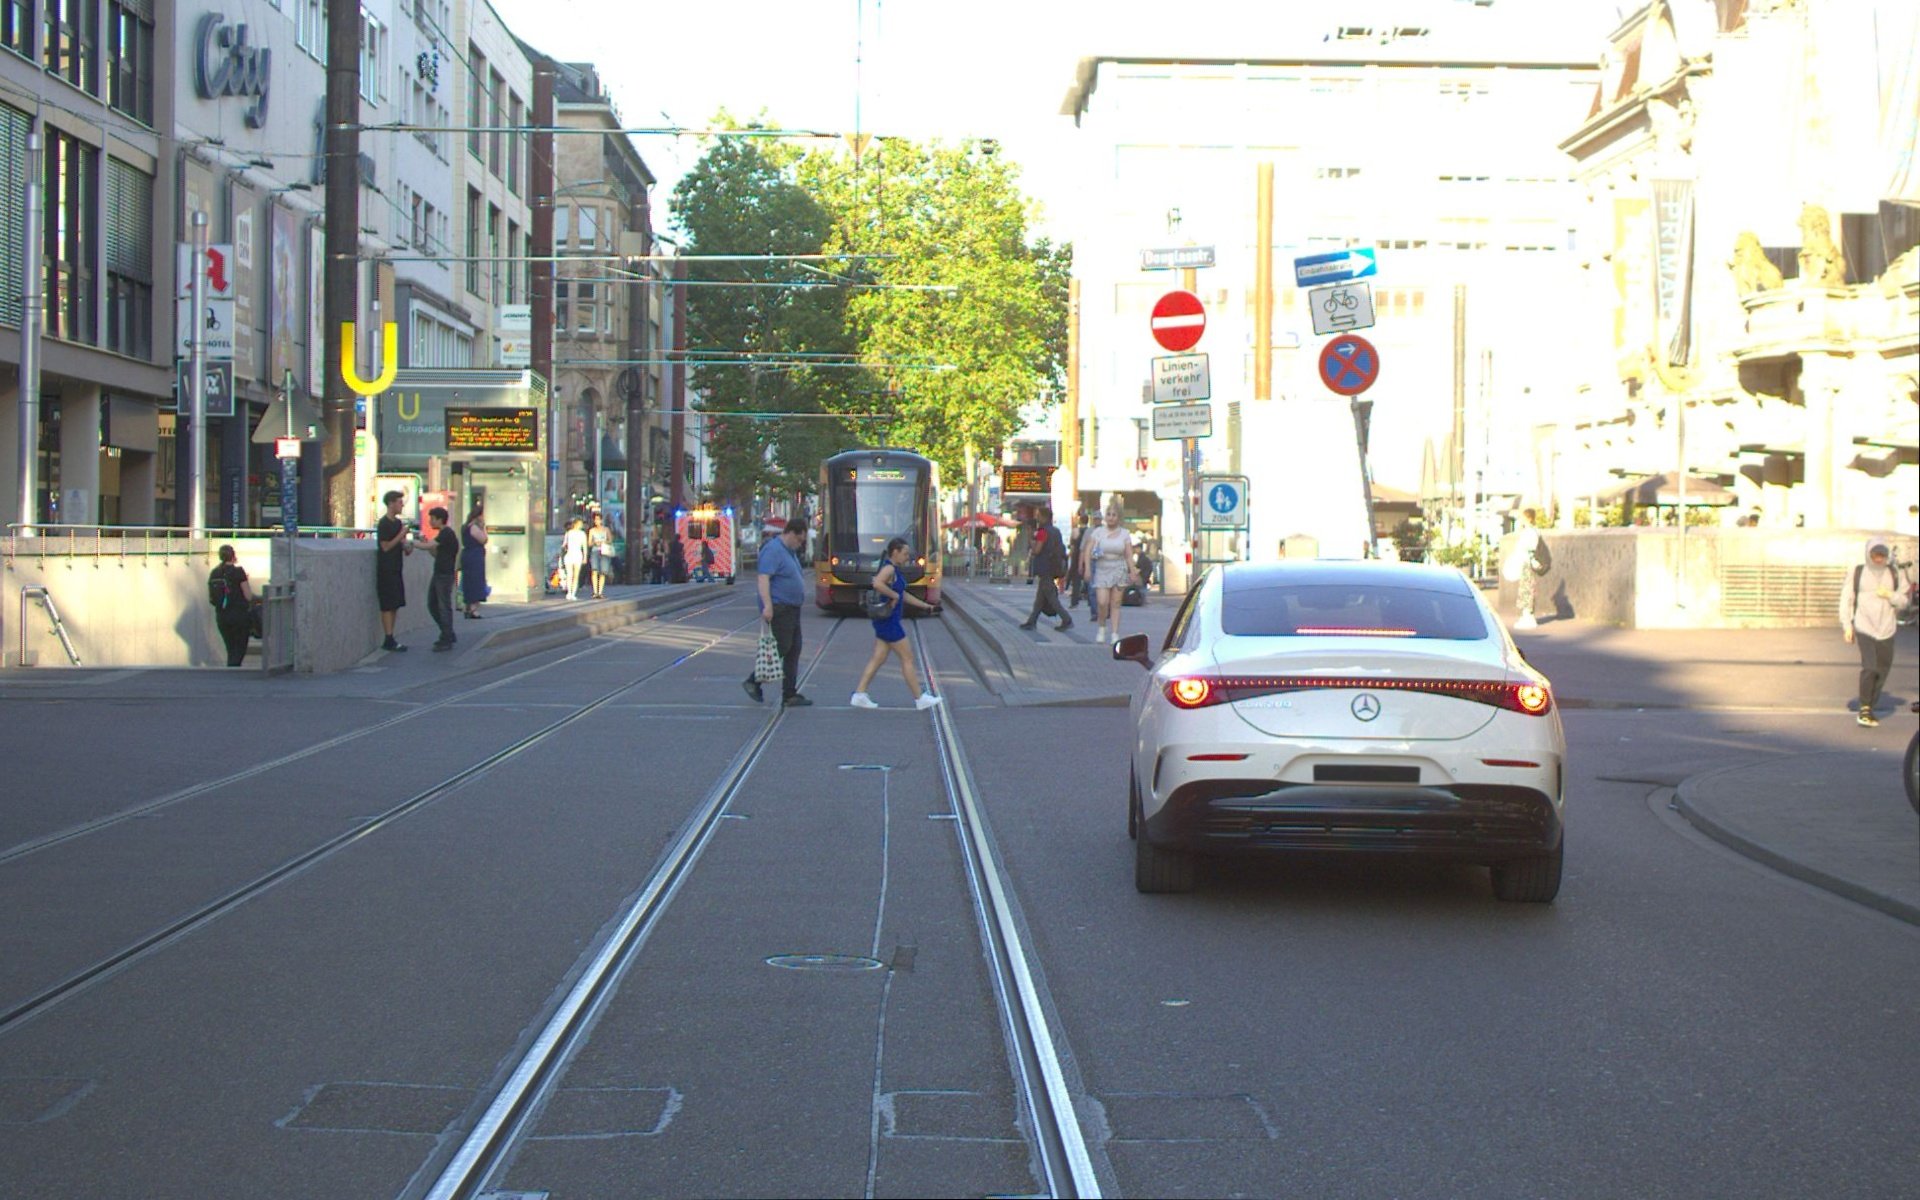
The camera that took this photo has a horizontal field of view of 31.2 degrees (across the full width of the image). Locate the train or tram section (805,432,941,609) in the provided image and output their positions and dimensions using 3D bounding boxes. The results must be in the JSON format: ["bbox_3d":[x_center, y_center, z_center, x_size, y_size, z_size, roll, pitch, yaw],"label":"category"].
[{"bbox_3d":[-1.854,-1.714,75.056,2.694,3.504,12.546,0,1,-1],"label":"train or tram section"}]

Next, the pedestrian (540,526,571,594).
[{"bbox_3d":[-9.498,-0.943,80.723,0.660,1.593,0.573,1,1,-2],"label":"pedestrian"}]

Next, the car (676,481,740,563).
[{"bbox_3d":[-9.181,-2.834,125.434,1.993,2.887,5.275,0,1,-1],"label":"car"}]

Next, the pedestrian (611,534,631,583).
[{"bbox_3d":[-11.326,-1.374,114.907,0.604,1.624,0.415,0,1,-16],"label":"pedestrian"}]

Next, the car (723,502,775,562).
[{"bbox_3d":[-8.821,-2.839,144.230,1.910,2.452,5.275,0,1,-1],"label":"car"}]

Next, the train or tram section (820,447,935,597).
[{"bbox_3d":[-2.076,-1.971,87.606,2.694,3.504,12.546,0,1,-1],"label":"train or tram section"}]

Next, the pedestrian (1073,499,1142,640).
[{"bbox_3d":[1.793,-0.377,41.890,0.746,1.692,0.840,0,1,-3],"label":"pedestrian"}]

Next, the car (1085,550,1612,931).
[{"bbox_3d":[1.630,0.533,15.855,1.857,1.450,4.175,2,1,-1],"label":"car"}]

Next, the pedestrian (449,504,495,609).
[{"bbox_3d":[-7.179,-0.645,50.614,0.615,1.539,0.651,0,1,-3],"label":"pedestrian"}]

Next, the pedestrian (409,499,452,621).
[{"bbox_3d":[-6.987,-0.531,45.377,0.531,1.608,0.541,0,1,-6],"label":"pedestrian"}]

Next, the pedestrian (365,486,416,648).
[{"bbox_3d":[-6.810,-0.392,41.125,0.571,1.922,0.541,0,1,-6],"label":"pedestrian"}]

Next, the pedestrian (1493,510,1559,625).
[{"bbox_3d":[8.455,-0.492,51.354,0.817,1.679,0.804,-1,1,-1],"label":"pedestrian"}]

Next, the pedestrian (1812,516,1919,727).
[{"bbox_3d":[7.859,0.172,29.547,0.840,1.779,0.804,-1,1,-1],"label":"pedestrian"}]

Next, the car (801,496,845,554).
[{"bbox_3d":[-7.000,-3.847,176.288,2.099,2.887,5.275,0,1,-1],"label":"car"}]

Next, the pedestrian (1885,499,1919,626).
[{"bbox_3d":[13.583,-0.539,48.564,0.722,1.779,1.005,-1,1,-1],"label":"pedestrian"}]

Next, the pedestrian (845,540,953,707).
[{"bbox_3d":[-0.554,0.205,31.477,0.955,1.491,0.944,1,1,0],"label":"pedestrian"}]

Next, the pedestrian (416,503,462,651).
[{"bbox_3d":[-6.243,-0.277,41.198,0.519,1.754,0.551,0,1,-6],"label":"pedestrian"}]

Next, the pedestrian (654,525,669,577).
[{"bbox_3d":[-9.380,-1.546,107.995,0.414,1.624,0.606,0,1,-1],"label":"pedestrian"}]

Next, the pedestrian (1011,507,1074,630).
[{"bbox_3d":[1.121,-0.436,46.992,0.838,1.656,0.785,1,1,1],"label":"pedestrian"}]

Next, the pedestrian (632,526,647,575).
[{"bbox_3d":[-10.609,-1.639,113.790,0.414,1.624,0.606,0,1,-1],"label":"pedestrian"}]

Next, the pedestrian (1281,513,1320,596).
[{"bbox_3d":[7.405,-0.992,74.813,0.727,1.779,0.708,1,1,-1],"label":"pedestrian"}]

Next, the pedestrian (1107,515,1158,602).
[{"bbox_3d":[3.591,-0.863,71.658,0.960,1.779,0.804,-1,1,-1],"label":"pedestrian"}]

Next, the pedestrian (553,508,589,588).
[{"bbox_3d":[-7.807,-1.044,69.060,0.660,1.593,0.573,1,1,-2],"label":"pedestrian"}]

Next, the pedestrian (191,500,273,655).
[{"bbox_3d":[-8.195,-0.259,38.714,0.782,1.711,0.840,0,1,-3],"label":"pedestrian"}]

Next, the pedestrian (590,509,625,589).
[{"bbox_3d":[-7.084,-1.033,69.146,0.660,1.593,0.573,1,1,-2],"label":"pedestrian"}]

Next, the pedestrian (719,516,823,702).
[{"bbox_3d":[-1.741,0.076,31.786,0.905,1.692,0.849,1,1,0],"label":"pedestrian"}]

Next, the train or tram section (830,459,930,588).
[{"bbox_3d":[-2.292,-2.208,99.444,2.694,3.504,11.144,0,1,-1],"label":"train or tram section"}]

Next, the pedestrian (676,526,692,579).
[{"bbox_3d":[-8.451,-1.449,105.270,0.414,1.624,0.606,0,1,-1],"label":"pedestrian"}]

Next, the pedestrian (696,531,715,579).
[{"bbox_3d":[-8.775,-1.558,118.431,0.604,1.624,0.531,0,1,0],"label":"pedestrian"}]

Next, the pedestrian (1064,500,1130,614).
[{"bbox_3d":[2.166,-0.681,54.487,0.960,1.779,0.804,-1,1,-1],"label":"pedestrian"}]

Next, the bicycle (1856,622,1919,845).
[{"bbox_3d":[5.712,0.682,17.593,2.113,1.092,0.610,1,1,-12],"label":"bicycle"}]
